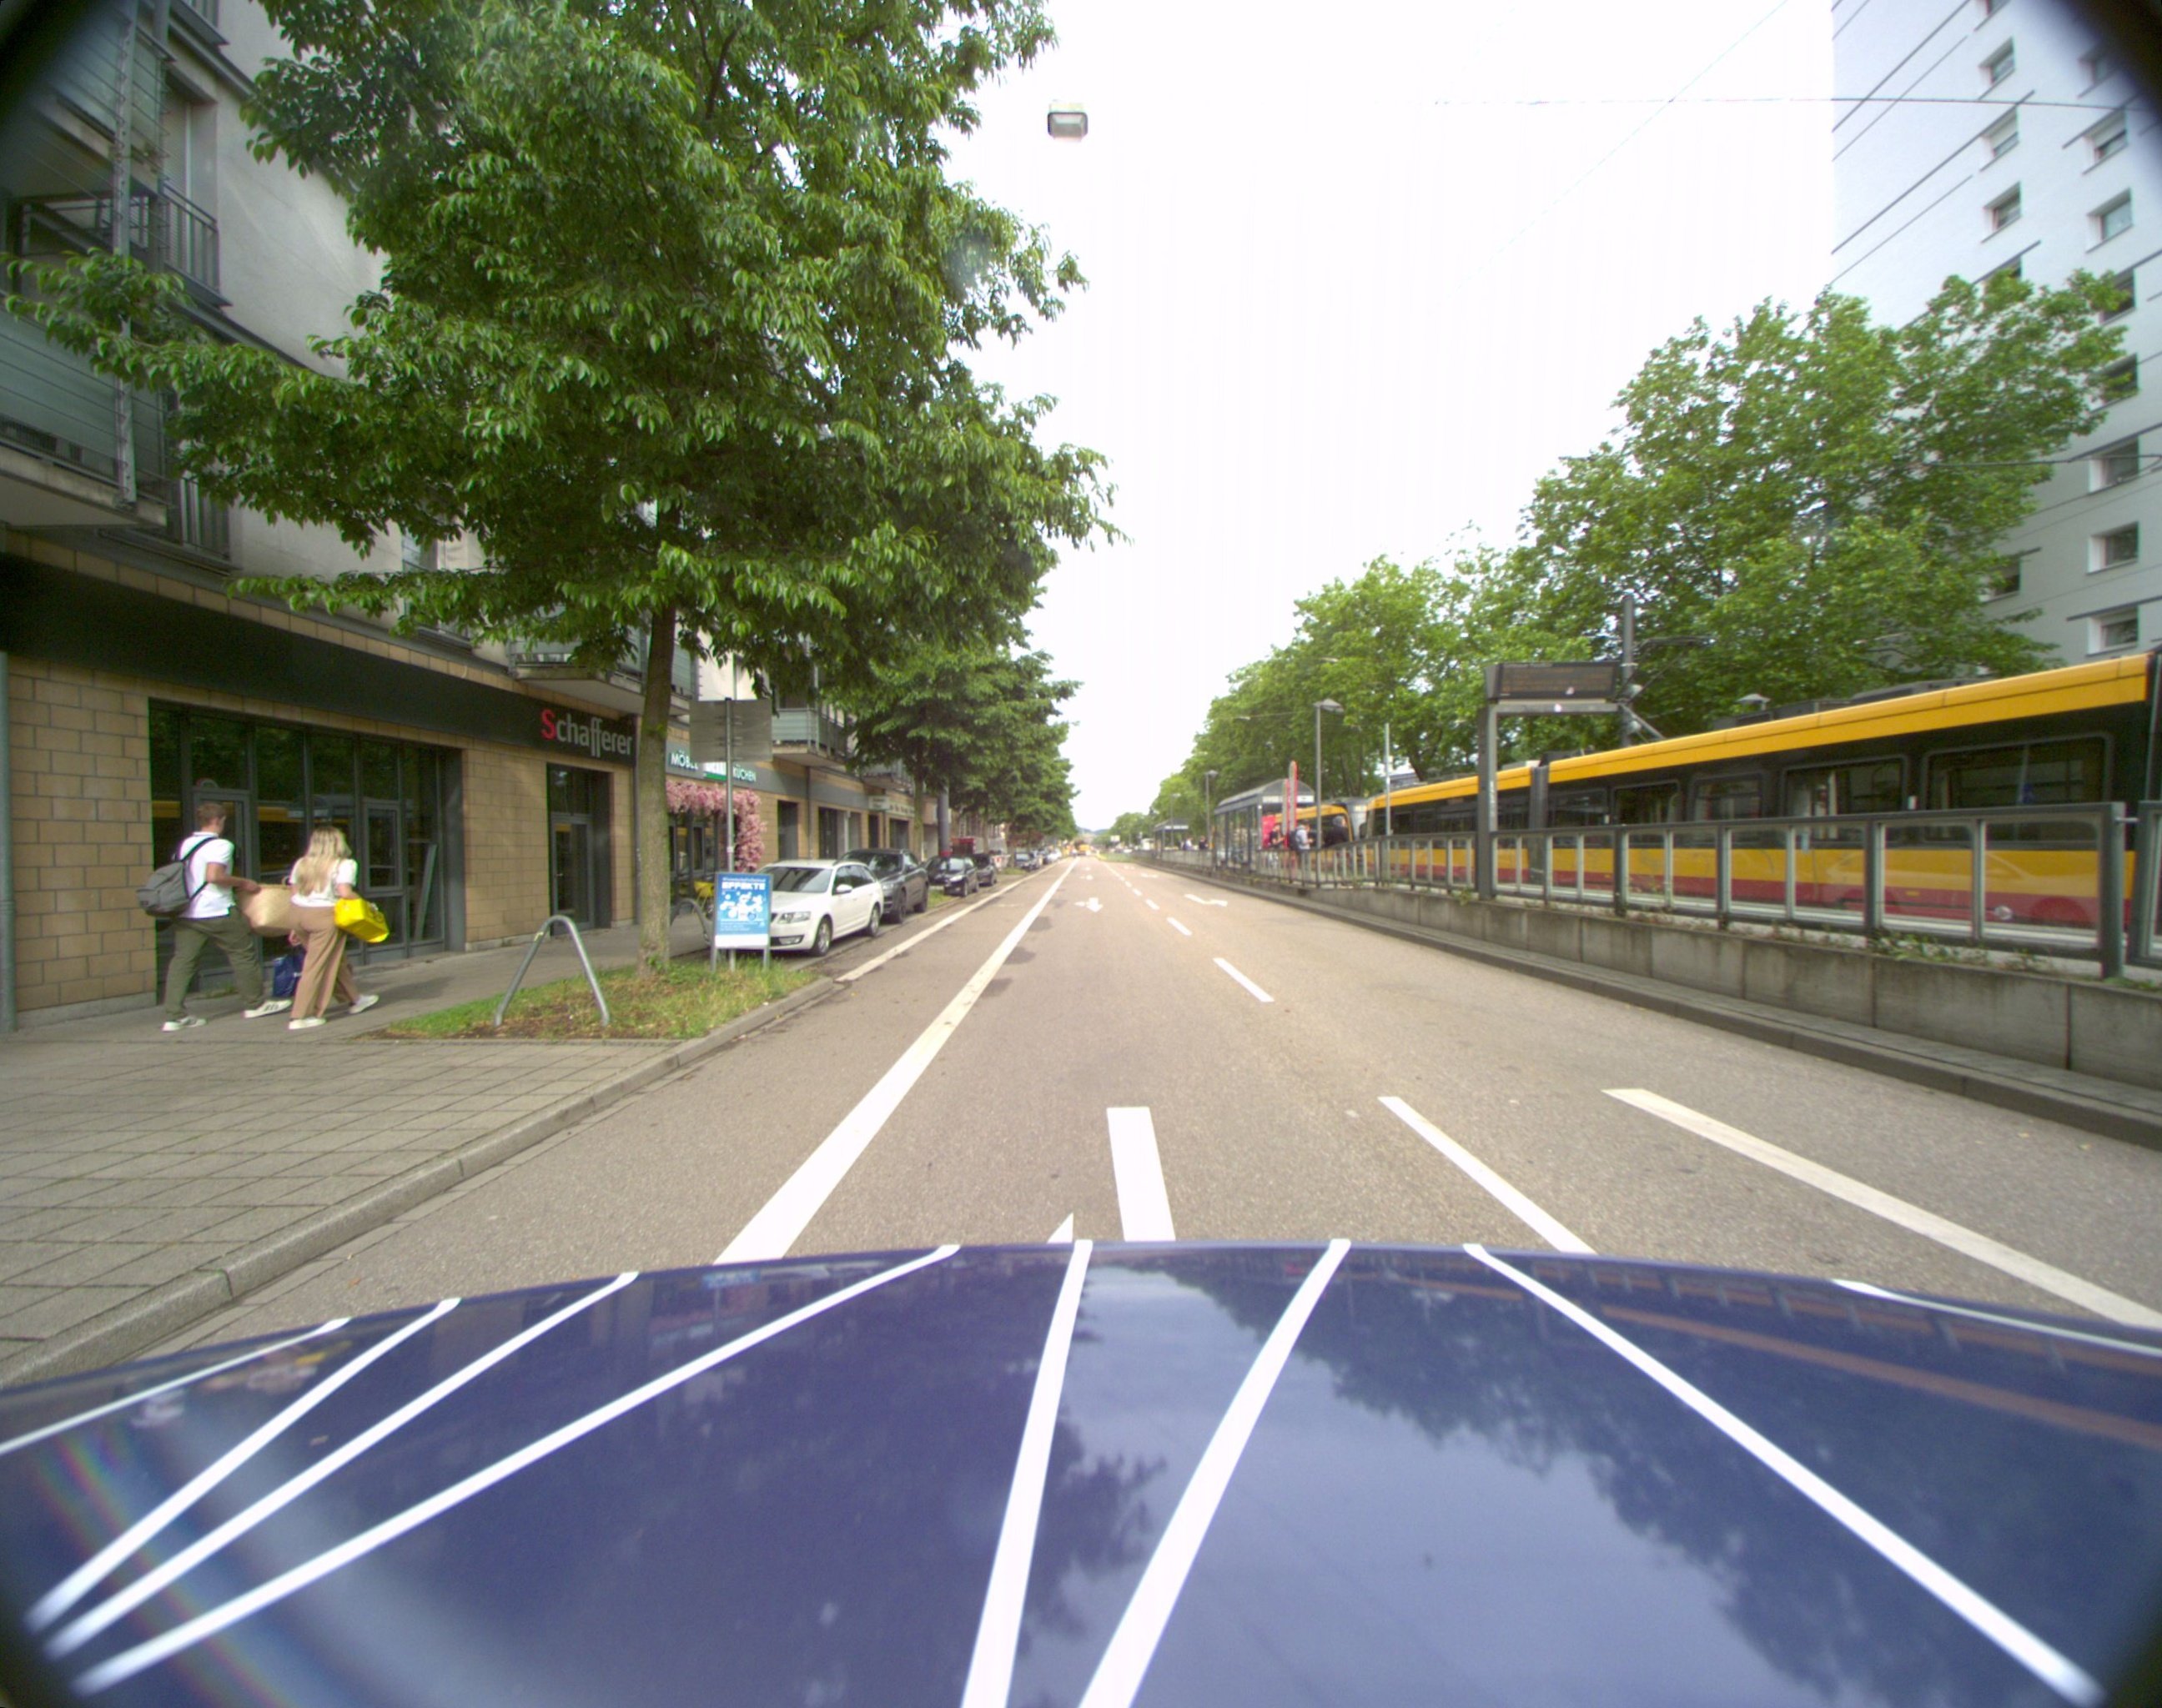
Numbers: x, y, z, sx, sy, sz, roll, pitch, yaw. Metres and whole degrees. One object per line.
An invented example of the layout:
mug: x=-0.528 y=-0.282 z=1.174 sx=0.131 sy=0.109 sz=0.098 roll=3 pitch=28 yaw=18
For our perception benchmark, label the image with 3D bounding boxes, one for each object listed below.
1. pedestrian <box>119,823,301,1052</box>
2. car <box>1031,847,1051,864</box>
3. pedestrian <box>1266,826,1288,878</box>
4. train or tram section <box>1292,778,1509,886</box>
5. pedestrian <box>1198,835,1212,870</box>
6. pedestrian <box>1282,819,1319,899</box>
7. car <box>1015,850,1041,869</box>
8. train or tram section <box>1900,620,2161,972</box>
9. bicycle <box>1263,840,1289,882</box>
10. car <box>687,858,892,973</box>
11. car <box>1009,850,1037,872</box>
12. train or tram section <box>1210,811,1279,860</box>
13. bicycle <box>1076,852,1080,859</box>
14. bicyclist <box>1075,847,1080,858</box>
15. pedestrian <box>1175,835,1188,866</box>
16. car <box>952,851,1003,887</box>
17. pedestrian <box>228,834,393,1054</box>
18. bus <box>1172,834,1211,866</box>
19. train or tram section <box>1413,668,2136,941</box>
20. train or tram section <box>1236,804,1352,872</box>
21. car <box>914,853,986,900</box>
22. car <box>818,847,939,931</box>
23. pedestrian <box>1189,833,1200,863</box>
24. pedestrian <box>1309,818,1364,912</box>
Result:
pedestrian: x=-7.493 y=0.682 z=6.577 sx=0.676 sy=1.880 sz=0.737 roll=0 pitch=1 yaw=2
car: x=-4.081 y=0.136 z=78.824 sx=1.837 sy=1.720 sz=4.279 roll=1 pitch=1 yaw=0
pedestrian: x=6.236 y=-0.070 z=24.218 sx=0.532 sy=1.623 sz=0.471 roll=-2 pitch=1 yaw=-2
train or tram section: x=12.834 y=-0.852 z=33.110 sx=3.067 sy=3.511 sz=15.292 roll=-2 pitch=1 yaw=1
pedestrian: x=5.962 y=-0.076 z=36.487 sx=0.513 sy=1.623 sz=0.730 roll=-2 pitch=1 yaw=2
pedestrian: x=5.713 y=0.121 z=19.730 sx=0.753 sy=2.002 sz=0.819 roll=-2 pitch=2 yaw=24
car: x=-4.342 y=0.435 z=62.731 sx=1.755 sy=1.452 sz=4.279 roll=1 pitch=1 yaw=0
train or tram section: x=12.451 y=-0.554 z=2.257 sx=3.067 sy=3.568 sz=15.846 roll=-2 pitch=1 yaw=1
bicycle: x=5.887 y=0.187 z=23.020 sx=0.420 sy=1.215 sz=1.289 roll=-2 pitch=1 yaw=0
car: x=-4.702 y=0.885 z=13.006 sx=1.680 sy=1.490 sz=4.389 roll=2 pitch=1 yaw=2
car: x=-4.283 y=0.499 z=56.520 sx=1.755 sy=1.452 sz=4.279 roll=1 pitch=1 yaw=0
train or tram section: x=13.214 y=-1.481 z=62.782 sx=3.100 sy=3.541 sz=12.537 roll=-2 pitch=1 yaw=1
bicycle: x=-0.575 y=0.207 z=129.715 sx=0.613 sy=1.116 sz=2.050 roll=-2 pitch=1 yaw=1
bicyclist: x=-0.629 y=-0.228 z=129.887 sx=0.751 sy=1.777 sz=0.838 roll=-2 pitch=1 yaw=1
pedestrian: x=6.521 y=-0.223 z=49.300 sx=0.676 sy=2.002 sz=0.588 roll=-2 pitch=1 yaw=-2
car: x=-4.691 y=0.628 z=35.043 sx=1.802 sy=1.447 sz=4.387 roll=2 pitch=1 yaw=-1
pedestrian: x=-6.600 y=0.730 z=6.545 sx=0.617 sy=1.795 sz=0.737 roll=0 pitch=1 yaw=2
bus: x=7.356 y=-0.304 z=50.865 sx=1.998 sy=2.002 sz=3.999 roll=-2 pitch=1 yaw=1
train or tram section: x=12.635 y=-0.771 z=17.799 sx=3.067 sy=3.511 sz=15.292 roll=-2 pitch=1 yaw=1
train or tram section: x=13.015 y=-0.965 z=48.633 sx=3.067 sy=3.511 sz=15.769 roll=-2 pitch=1 yaw=1
car: x=-4.607 y=0.735 z=27.375 sx=1.680 sy=1.433 sz=4.407 roll=2 pitch=1 yaw=2
car: x=-4.741 y=0.716 z=18.488 sx=1.716 sy=1.707 sz=4.710 roll=2 pitch=1 yaw=-1
pedestrian: x=6.186 y=-0.314 z=41.313 sx=0.480 sy=1.623 sz=0.392 roll=-2 pitch=1 yaw=2
pedestrian: x=5.663 y=0.236 z=16.849 sx=0.756 sy=2.002 sz=0.816 roll=-3 pitch=2 yaw=-36
